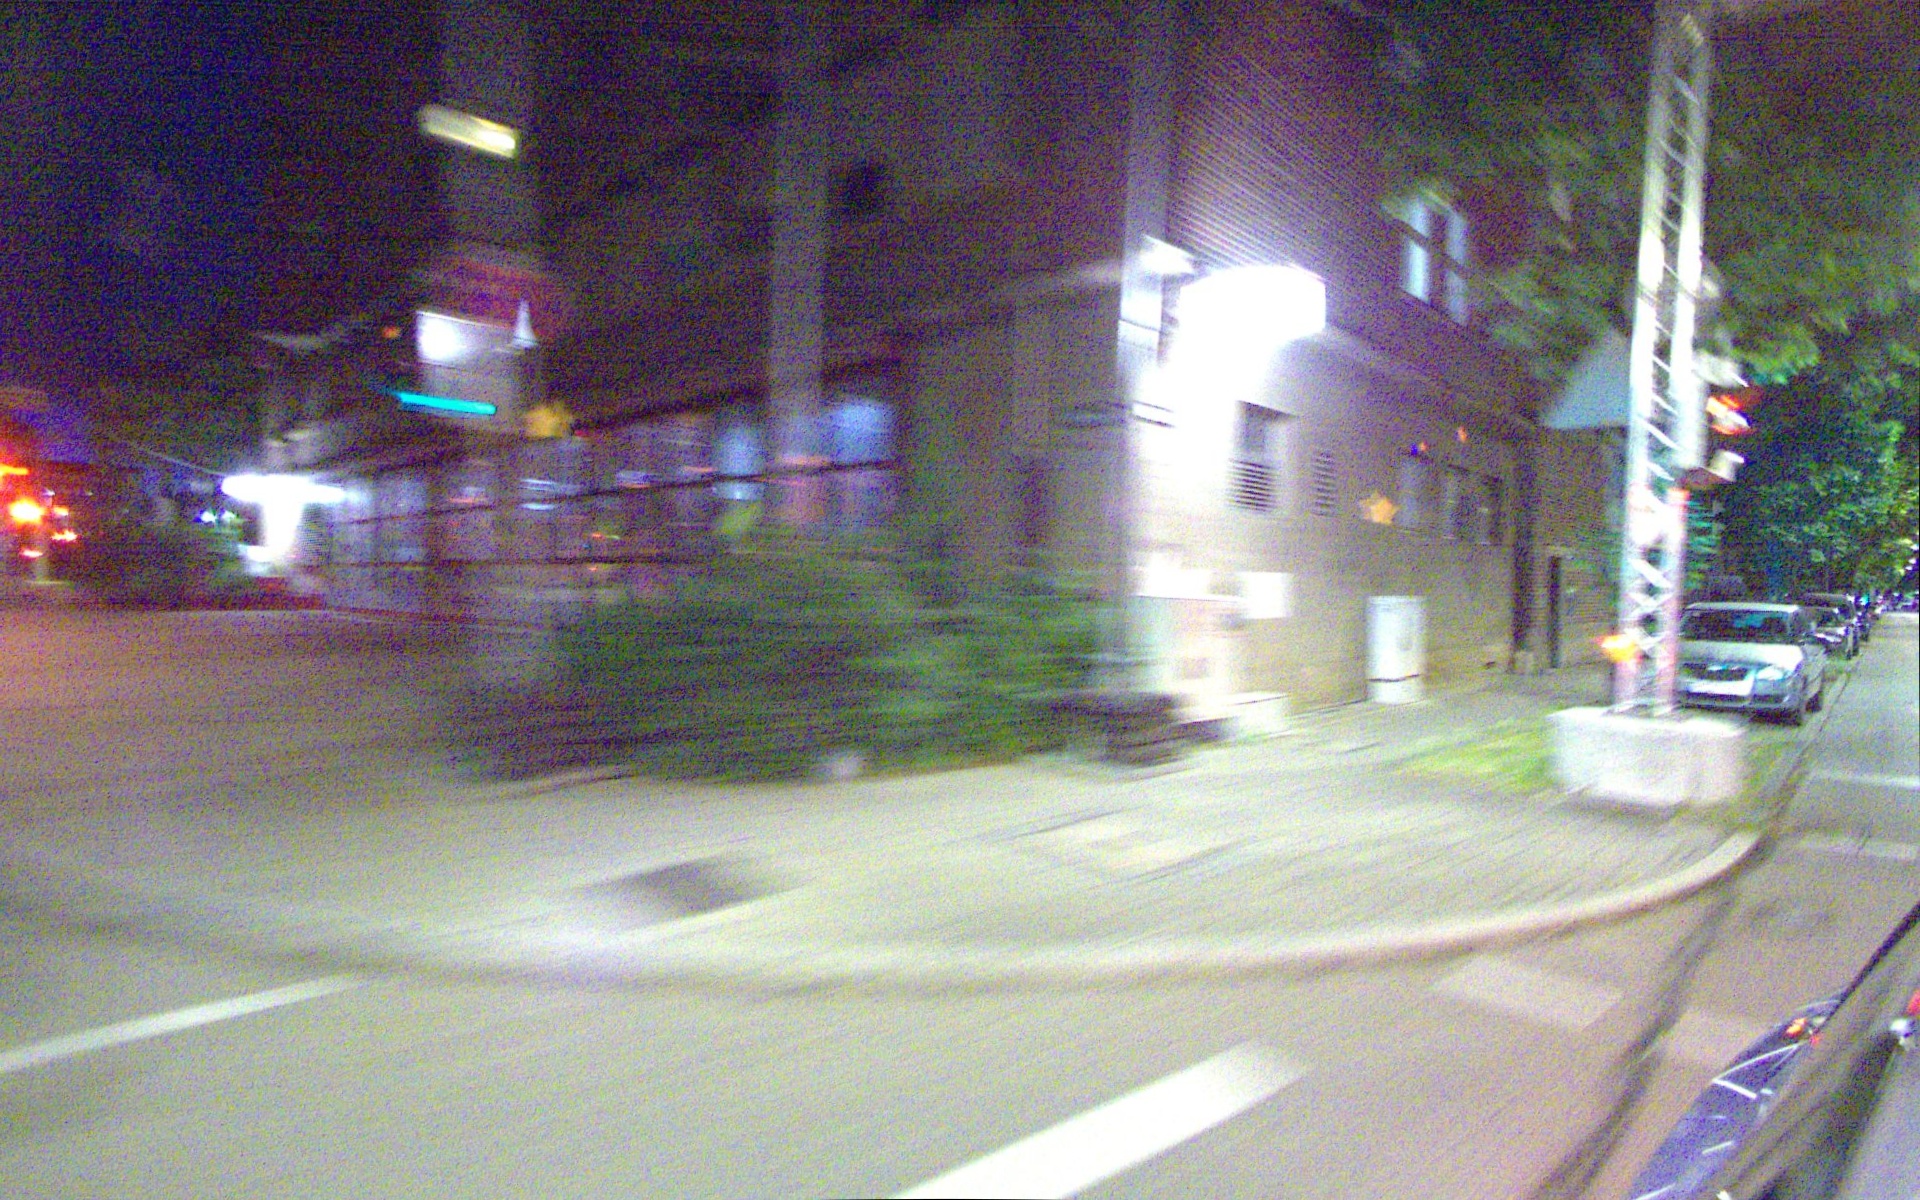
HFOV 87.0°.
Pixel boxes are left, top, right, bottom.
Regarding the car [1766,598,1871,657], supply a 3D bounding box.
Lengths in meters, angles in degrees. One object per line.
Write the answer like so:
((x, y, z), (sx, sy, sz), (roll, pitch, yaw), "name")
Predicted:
((22.807, 0.690, 26.833), (1.777, 1.376, 4.351), (3, 2, 44), "car")

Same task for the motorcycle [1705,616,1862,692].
((13.120, 0.853, 16.135), (2.181, 1.145, 0.730), (1, 0, -12), "motorcycle")

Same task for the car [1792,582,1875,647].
((26.951, 0.429, 31.284), (1.774, 1.795, 4.357), (3, 2, 40), "car")

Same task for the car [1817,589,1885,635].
((36.367, 0.478, 41.332), (1.928, 1.685, 3.716), (3, 2, 42), "car")

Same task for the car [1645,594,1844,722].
((10.649, 0.690, 13.645), (3.733, 1.479, 1.588), (1, 0, -44), "car")

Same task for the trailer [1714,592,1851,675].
((16.526, 0.623, 20.276), (3.669, 1.514, 1.603), (1, 0, -42), "trailer")

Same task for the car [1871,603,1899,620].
((84.848, 1.055, 92.861), (1.820, 1.450, 3.674), (-2, -2, 42), "car")
